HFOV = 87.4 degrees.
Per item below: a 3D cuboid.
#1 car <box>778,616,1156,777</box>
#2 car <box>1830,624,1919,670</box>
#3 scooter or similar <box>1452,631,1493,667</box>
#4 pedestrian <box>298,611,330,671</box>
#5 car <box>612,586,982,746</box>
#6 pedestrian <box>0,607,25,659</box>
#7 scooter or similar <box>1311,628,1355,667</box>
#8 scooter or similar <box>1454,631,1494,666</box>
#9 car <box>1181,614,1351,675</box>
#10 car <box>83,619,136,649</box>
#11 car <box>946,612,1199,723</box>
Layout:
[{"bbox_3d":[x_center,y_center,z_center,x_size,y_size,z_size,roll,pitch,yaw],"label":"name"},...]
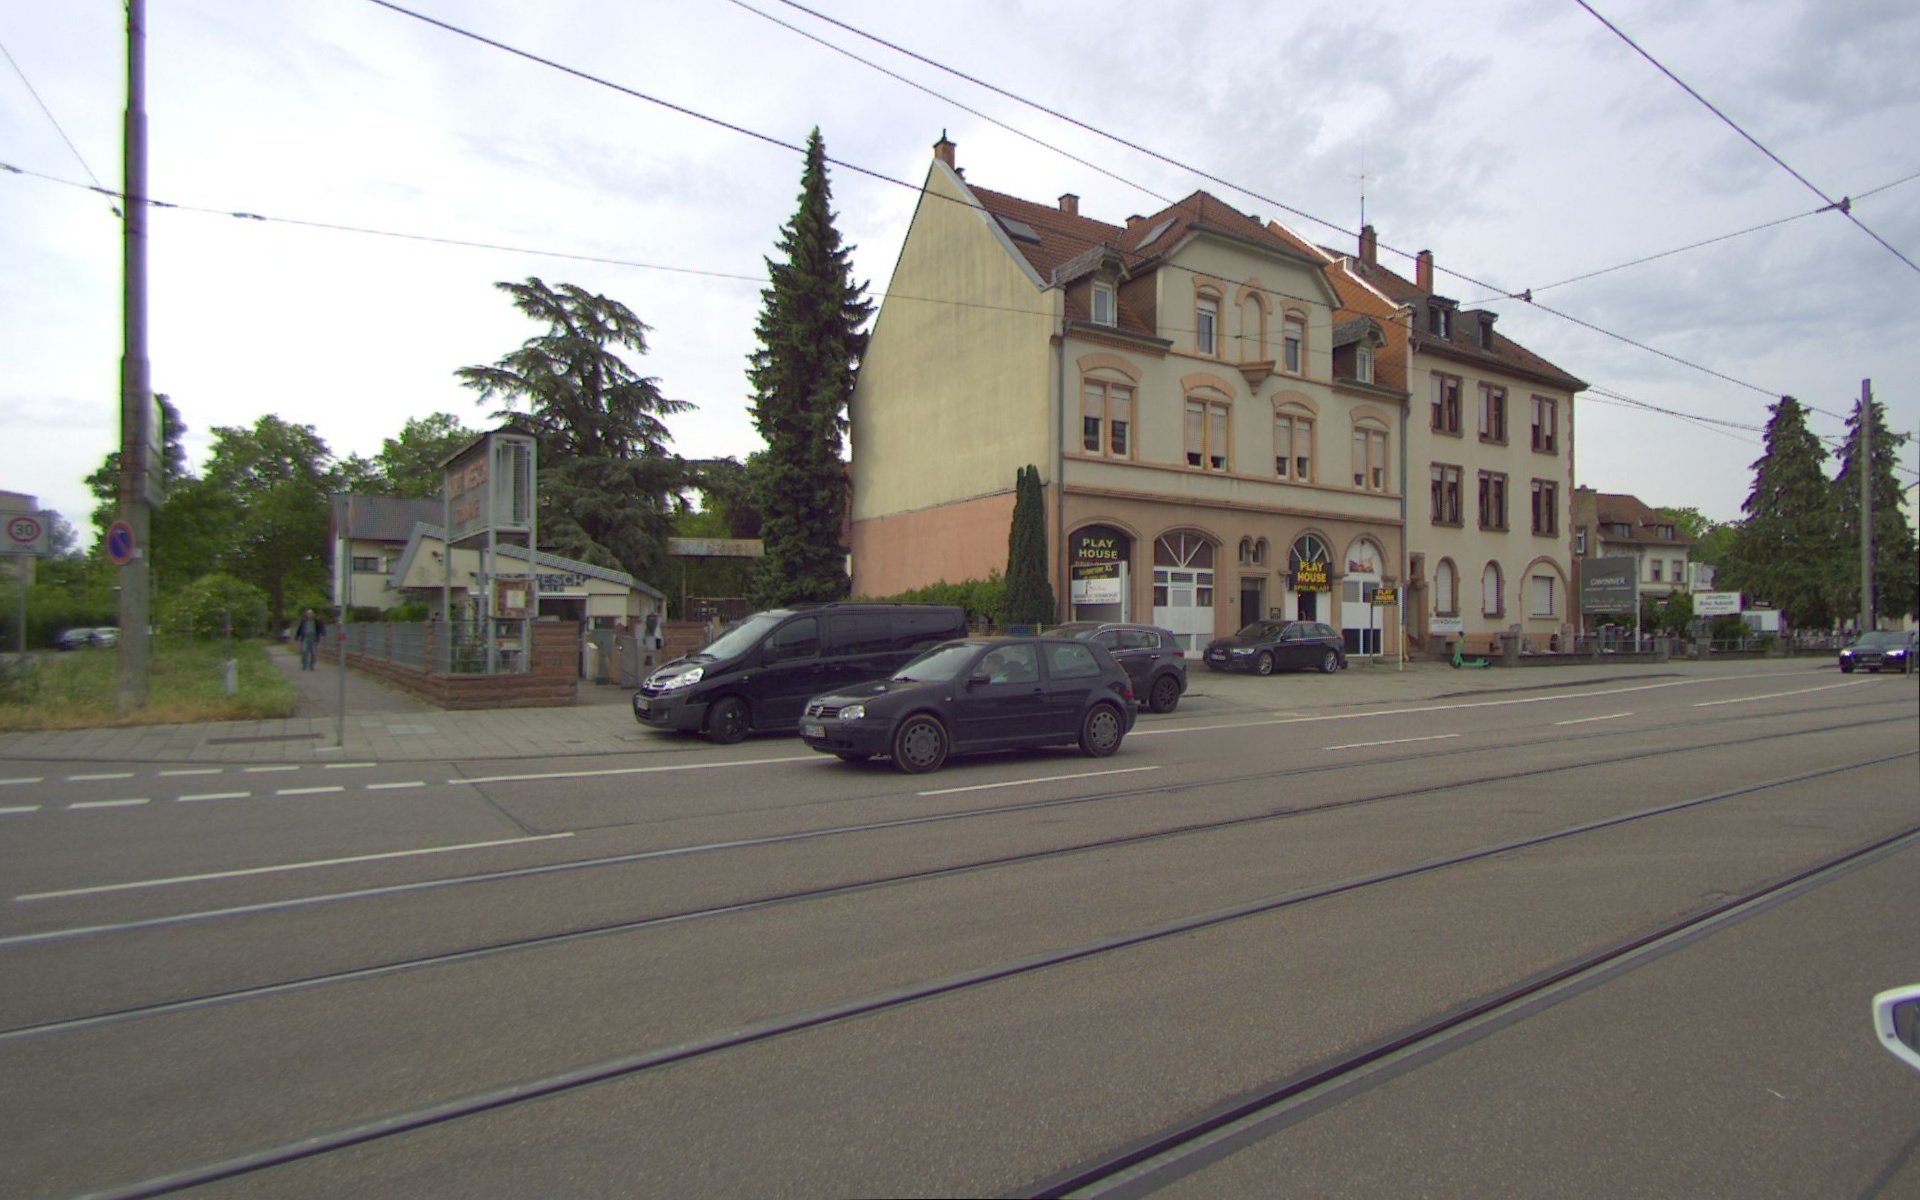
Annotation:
[{"bbox_3d":[0.150,1.025,11.579,4.099,1.550,1.779,2,-4,-34],"label":"car"},{"bbox_3d":[31.804,1.623,34.702,4.780,1.492,1.889,2,-3,-40],"label":"car"},{"bbox_3d":[16.819,1.594,32.968,1.156,1.116,0.527,1,-1,28],"label":"scooter or similar"},{"bbox_3d":[-19.507,1.234,30.346,0.752,1.797,0.631,1,-1,-30],"label":"pedestrian"},{"bbox_3d":[-2.331,0.890,15.077,5.132,2.040,1.974,2,0,-35],"label":"car"},{"bbox_3d":[-37.964,1.307,39.845,1.199,2.040,1.182,-2,-2,42],"label":"pedestrian"},{"bbox_3d":[11.572,1.468,31.178,0.523,1.116,1.166,1,1,-36],"label":"scooter or similar"},{"bbox_3d":[17.220,1.612,33.666,1.156,1.116,0.527,1,-1,28],"label":"scooter or similar"},{"bbox_3d":[8.754,1.233,28.577,4.851,1.513,1.981,2,1,-34],"label":"car"},{"bbox_3d":[-61.734,2.456,73.017,1.974,2.040,3.973,1,-1,-26],"label":"car"},{"bbox_3d":[2.151,1.131,18.638,4.490,1.773,2.023,0,1,-36],"label":"car"}]
